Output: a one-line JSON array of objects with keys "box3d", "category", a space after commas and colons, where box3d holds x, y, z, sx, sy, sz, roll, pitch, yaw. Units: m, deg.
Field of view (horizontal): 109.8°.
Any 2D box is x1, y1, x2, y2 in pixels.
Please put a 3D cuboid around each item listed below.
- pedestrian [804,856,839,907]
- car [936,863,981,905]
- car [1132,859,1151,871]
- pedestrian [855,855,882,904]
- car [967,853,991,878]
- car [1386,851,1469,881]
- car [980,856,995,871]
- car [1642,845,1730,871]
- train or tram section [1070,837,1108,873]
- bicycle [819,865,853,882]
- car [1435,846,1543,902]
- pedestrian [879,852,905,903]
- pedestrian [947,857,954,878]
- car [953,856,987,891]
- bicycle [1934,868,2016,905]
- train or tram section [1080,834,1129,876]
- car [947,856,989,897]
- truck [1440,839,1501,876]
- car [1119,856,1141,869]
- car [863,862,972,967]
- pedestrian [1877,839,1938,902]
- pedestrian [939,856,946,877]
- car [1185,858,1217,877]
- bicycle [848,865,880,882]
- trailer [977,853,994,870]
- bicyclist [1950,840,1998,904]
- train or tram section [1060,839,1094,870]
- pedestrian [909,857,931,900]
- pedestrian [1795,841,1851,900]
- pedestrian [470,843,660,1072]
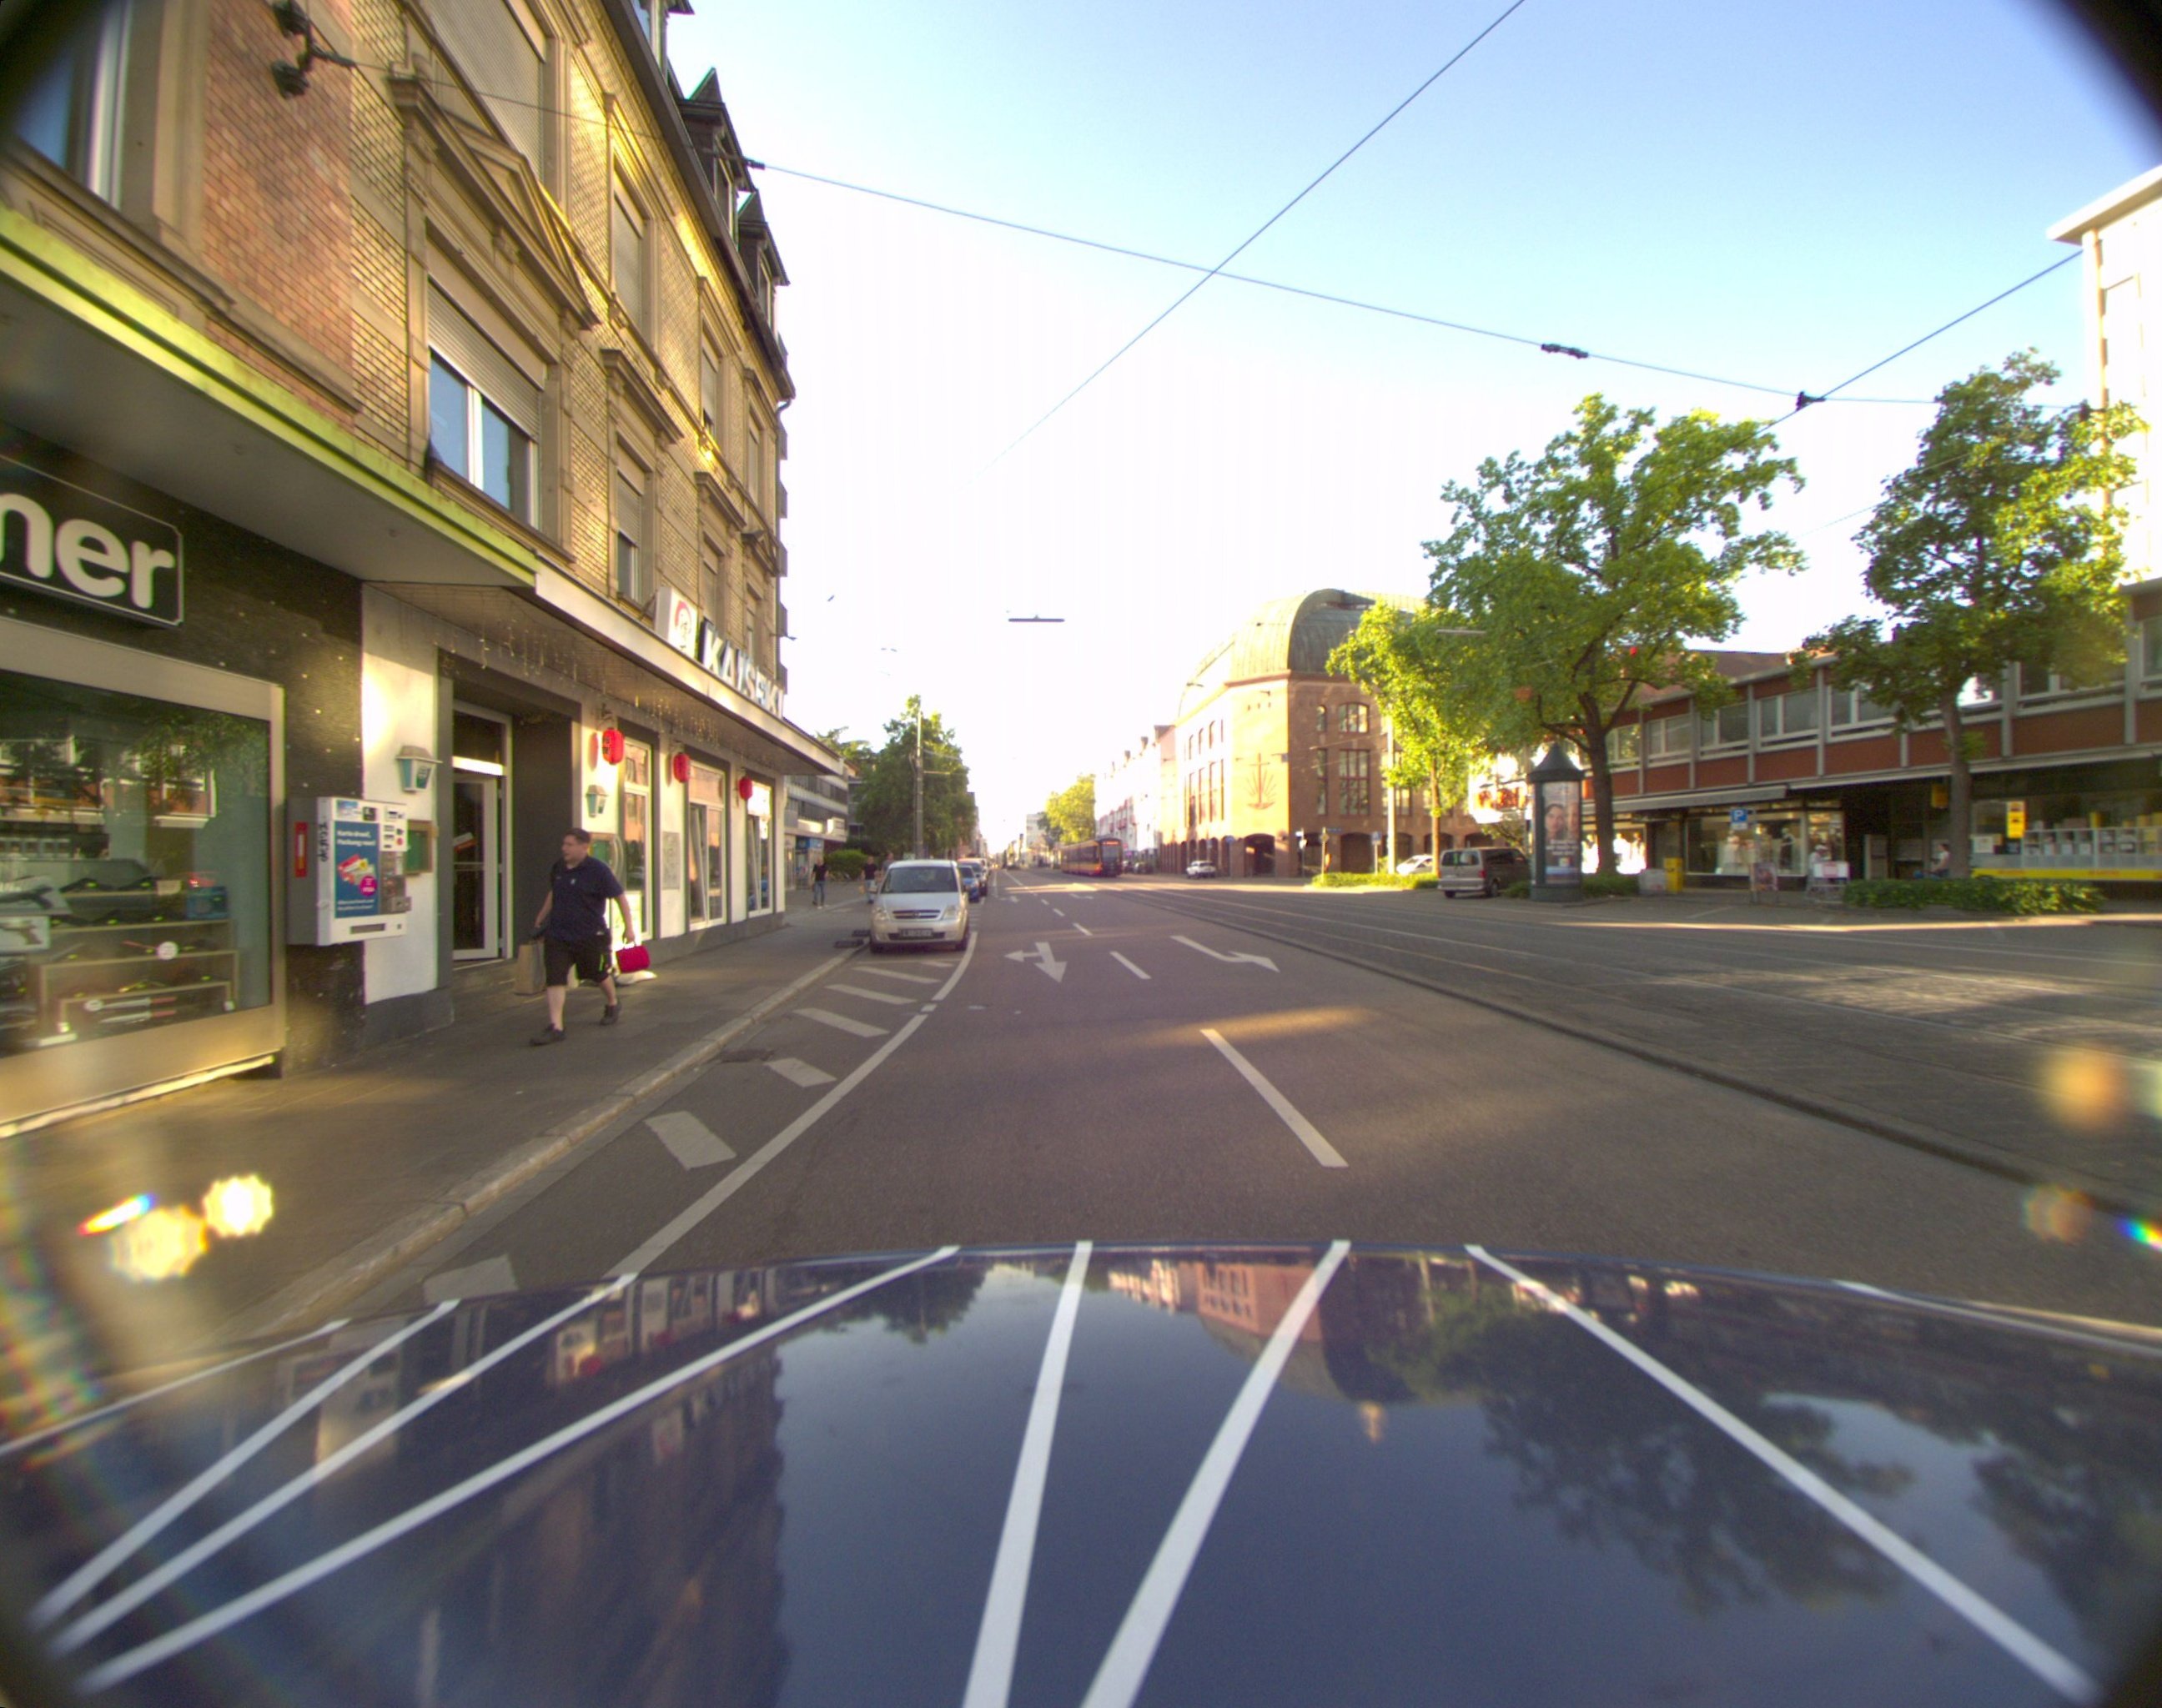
[{"box3d": [-9.069, 0.943, 26.607, 0.903, 1.703, 1.032, 2, 0, -7], "category": "pedestrian"}, {"box3d": [-4.982, 1.172, 31.169, 1.643, 1.484, 3.792, -3, 0, -8], "category": "car"}, {"box3d": [7.509, 1.366, 94.447, 1.647, 1.392, 3.681, -2, 0, -6], "category": "car"}, {"box3d": [-7.795, 0.929, 27.883, 0.813, 1.746, 1.032, 0, 0, -7], "category": "pedestrian"}, {"box3d": [-8.751, 0.999, 65.727, 1.883, 2.009, 4.902, -2, 0, -6], "category": "car"}, {"box3d": [24.680, 0.838, 54.176, 4.995, 1.957, 2.130, 0, 3, -8], "category": "car"}, {"box3d": [-11.797, 1.175, 95.451, 1.785, 1.735, 4.472, -2, 0, -7], "category": "car"}, {"box3d": [38.440, 0.259, 48.430, 2.038, 1.569, 4.098, 0, 0, -8], "category": "car"}, {"box3d": [0.668, 0.066, 80.780, 2.684, 3.530, 11.119, 0, 0, -7], "category": "train or tram section"}, {"box3d": [-15.475, 1.233, 47.998, 2.021, 1.089, 0.637, 1, 0, -13], "category": "bicycle"}, {"box3d": [16.376, 0.720, 30.405, 5.131, 1.918, 1.849, -3, 1, -38], "category": "car"}, {"box3d": [-7.021, 0.859, 28.265, 0.796, 1.888, 1.032, 0, 0, -7], "category": "pedestrian"}, {"box3d": [-10.534, 1.102, 61.355, 0.494, 1.703, 0.437, 2, 0, -7], "category": "pedestrian"}, {"box3d": [-5.949, 1.010, 41.206, 1.680, 1.797, 4.246, -2, 0, -7], "category": "car"}, {"box3d": [26.076, 0.927, 22.192, 0.493, 1.019, 1.493, -1, 0, -32], "category": "bicycle"}, {"box3d": [1.935, 0.065, 70.043, 2.684, 3.530, 12.833, 0, 0, -7], "category": "train or tram section"}, {"box3d": [-5.353, 1.020, 36.445, 1.826, 1.747, 4.472, -2, 1, -7], "category": "car"}, {"box3d": [30.227, 0.257, 59.086, 1.856, 2.747, 4.527, 0, 0, -11], "category": "truck"}, {"box3d": [6.488, 1.088, 101.190, 1.965, 1.690, 4.557, -2, 0, -8], "category": "car"}, {"box3d": [-2.903, 0.984, 14.161, 1.643, 1.605, 3.942, -1, 0, -8], "category": "car"}, {"box3d": [24.863, 0.494, 22.872, 0.919, 1.867, 0.899, 0, 0, -9], "category": "pedestrian"}, {"box3d": [-11.174, 1.028, 61.310, 0.494, 1.703, 0.437, 2, 0, -7], "category": "pedestrian"}, {"box3d": [10.663, 1.167, 67.774, 1.600, 1.581, 4.274, -2, 0, -8], "category": "car"}, {"box3d": [-14.012, 1.239, 49.101, 1.887, 1.089, 0.469, 0, 1, -8], "category": "bicycle"}, {"box3d": [-12.585, 0.997, 100.244, 1.784, 2.136, 5.313, -2, 0, -4], "category": "trailer"}, {"box3d": [26.074, 0.519, 22.187, 0.493, 1.811, 0.826, -1, 0, -33], "category": "bicyclist"}, {"box3d": [-0.653, 0.059, 92.536, 2.767, 3.530, 12.459, 0, 0, -7], "category": "train or tram section"}, {"box3d": [-6.669, 1.010, 31.579, 0.790, 1.727, 0.945, -1, 0, -7], "category": "pedestrian"}, {"box3d": [23.625, 0.518, 24.204, 0.918, 1.867, 0.900, 0, 0, 6], "category": "pedestrian"}, {"box3d": [-4.326, 0.810, 6.479, 0.949, 1.782, 1.054, 1, 0, -7], "category": "pedestrian"}]
